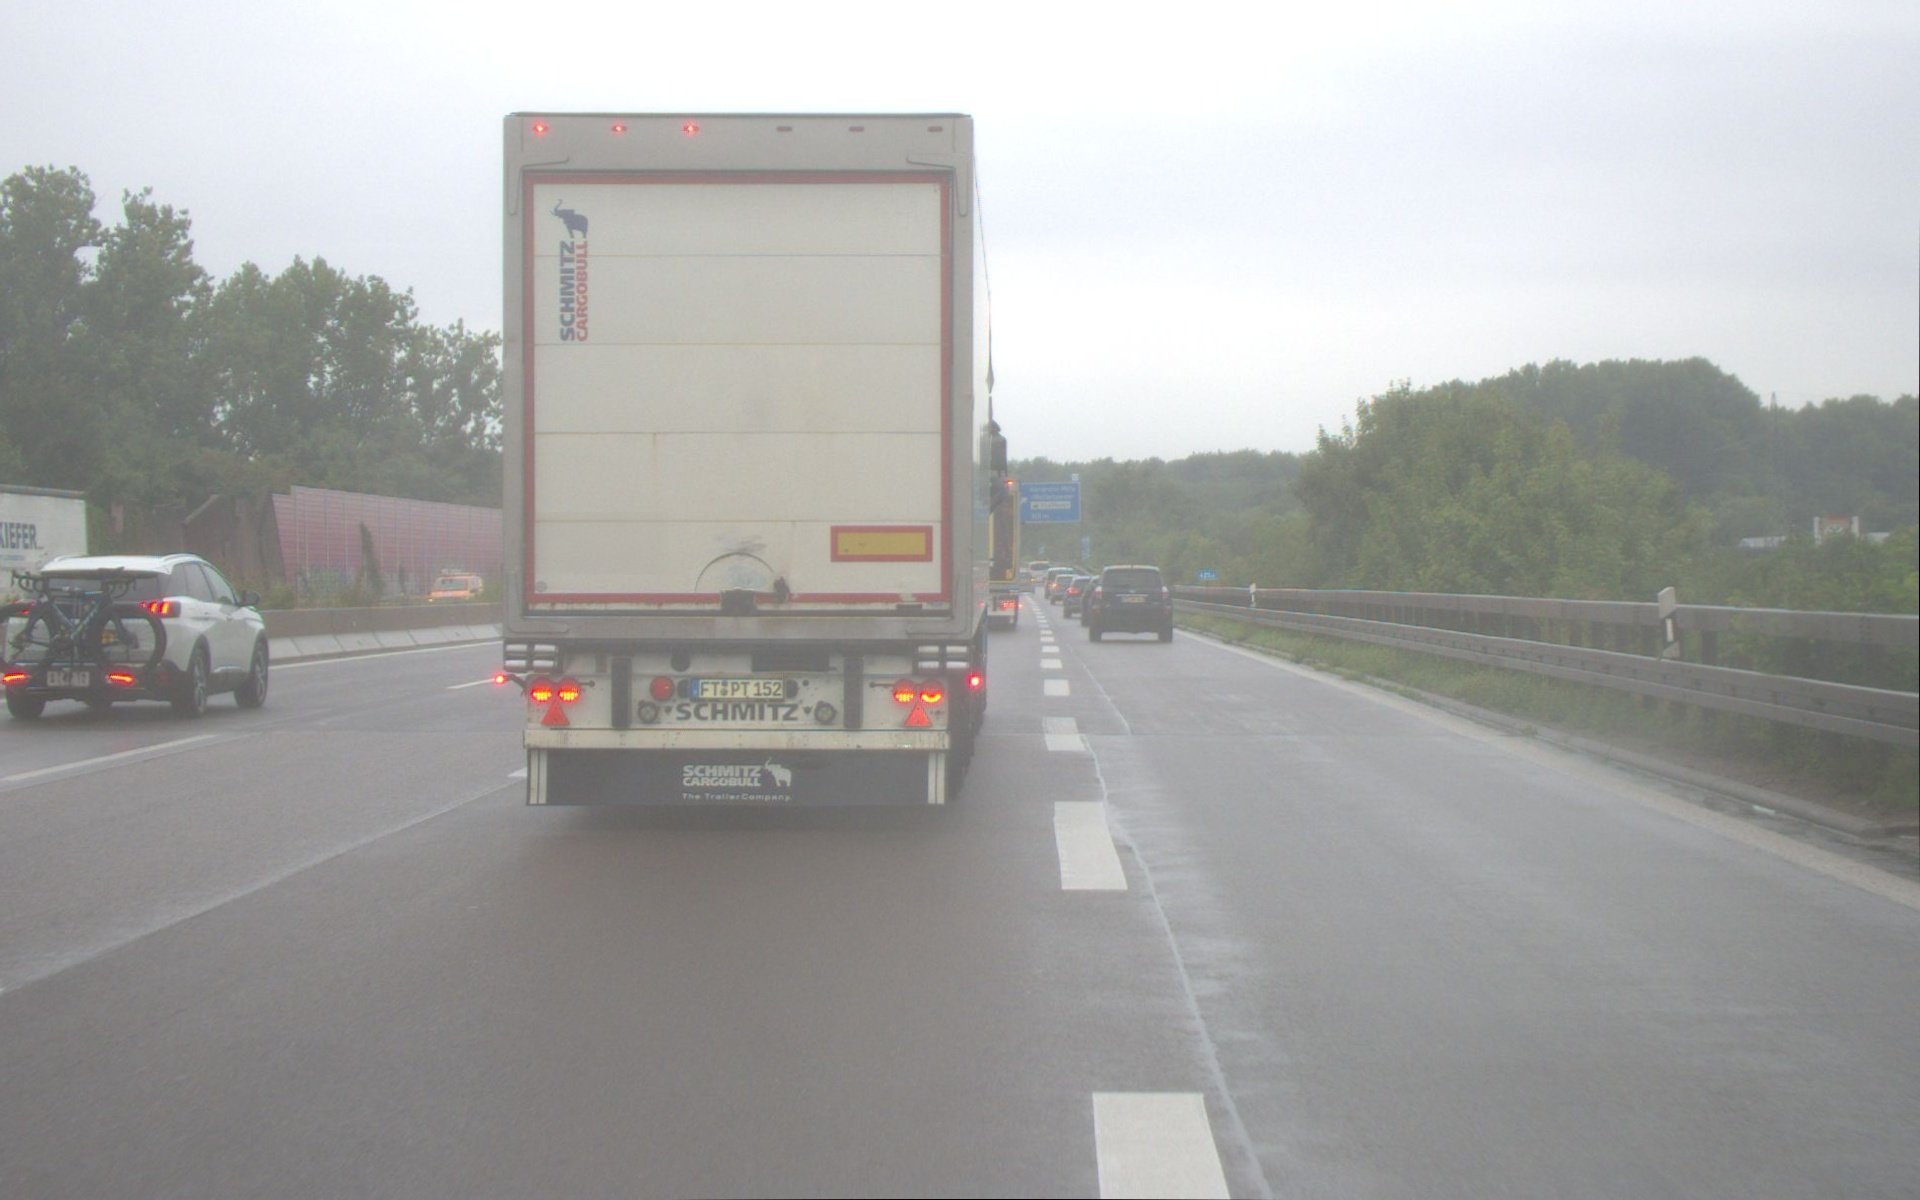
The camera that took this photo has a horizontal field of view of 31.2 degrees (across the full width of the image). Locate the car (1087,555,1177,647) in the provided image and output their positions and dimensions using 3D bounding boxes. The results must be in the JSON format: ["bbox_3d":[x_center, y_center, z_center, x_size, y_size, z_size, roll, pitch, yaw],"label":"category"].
[{"bbox_3d":[3.801,-0.003,76.358,1.897,1.943,4.000,1,1,2],"label":"car"}]

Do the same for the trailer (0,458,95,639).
[{"bbox_3d":[-23.669,-1.228,80.873,3.056,4.172,13.570,1,1,1],"label":"trailer"}]

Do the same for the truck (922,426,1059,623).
[{"bbox_3d":[0.902,-2.065,96.118,3.534,5.165,9.893,1,1,1],"label":"truck"}]

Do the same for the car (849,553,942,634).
[{"bbox_3d":[-1.408,-0.162,76.747,1.894,1.718,4.000,1,1,1],"label":"car"}]

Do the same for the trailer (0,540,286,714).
[{"bbox_3d":[-8.130,0.213,34.351,1.815,1.619,4.568,0,1,1],"label":"trailer"}]

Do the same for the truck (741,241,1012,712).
[{"bbox_3d":[-0.689,-1.170,33.565,2.342,4.143,6.347,-1,1,1],"label":"truck"}]

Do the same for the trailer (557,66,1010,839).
[{"bbox_3d":[-0.839,-0.977,25.930,2.342,4.143,14.827,-1,1,1],"label":"trailer"}]
